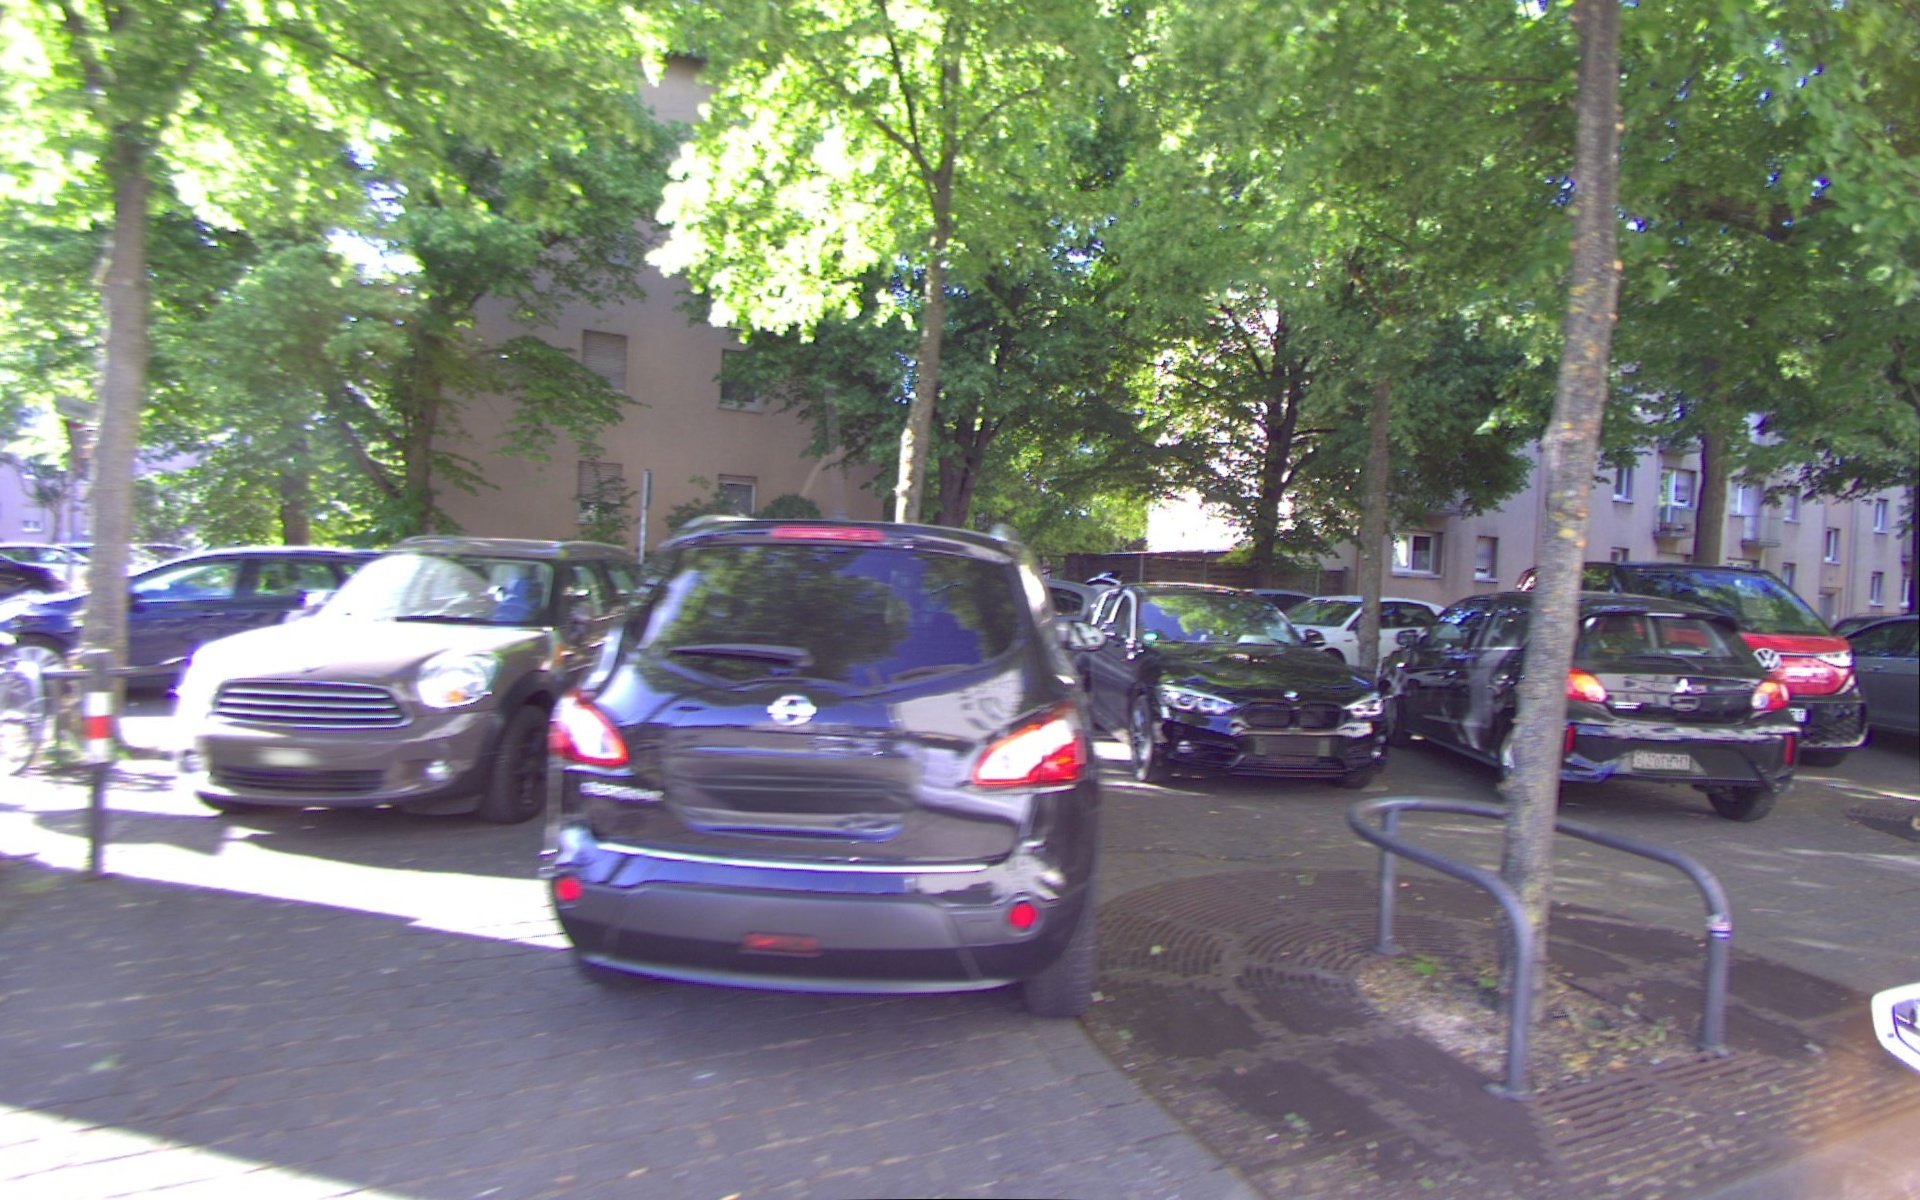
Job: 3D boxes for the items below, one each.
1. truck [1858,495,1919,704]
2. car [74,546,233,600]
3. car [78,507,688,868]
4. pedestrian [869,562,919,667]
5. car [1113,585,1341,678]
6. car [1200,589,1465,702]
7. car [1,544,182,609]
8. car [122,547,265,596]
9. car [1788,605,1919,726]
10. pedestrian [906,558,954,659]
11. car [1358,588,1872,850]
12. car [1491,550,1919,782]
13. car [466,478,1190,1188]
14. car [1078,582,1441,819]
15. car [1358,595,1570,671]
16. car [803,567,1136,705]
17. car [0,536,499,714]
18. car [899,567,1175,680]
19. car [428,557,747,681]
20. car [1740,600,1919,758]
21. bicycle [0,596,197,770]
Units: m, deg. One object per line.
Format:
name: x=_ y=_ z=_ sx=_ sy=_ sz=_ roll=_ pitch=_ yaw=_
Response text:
truck: x=16.266 y=0.042 z=13.430 sx=2.495 sy=3.338 sz=7.329 roll=2 pitch=0 yaw=7
car: x=-24.665 y=-0.815 z=30.794 sx=1.597 sy=1.501 sz=3.575 roll=3 pitch=1 yaw=41
car: x=-3.223 y=0.404 z=6.694 sx=1.885 sy=1.632 sz=3.998 roll=2 pitch=0 yaw=-3
pedestrian: x=-1.138 y=0.237 z=17.218 sx=0.533 sy=1.759 sz=0.737 roll=1 pitch=1 yaw=-28
car: x=5.042 y=0.591 z=18.976 sx=3.895 sy=1.591 sz=1.749 roll=2 pitch=1 yaw=-24
car: x=5.754 y=0.661 z=15.415 sx=3.905 sy=1.506 sz=1.744 roll=2 pitch=1 yaw=-32
car: x=-21.717 y=-0.561 z=25.202 sx=1.597 sy=1.501 sz=3.241 roll=3 pitch=1 yaw=41
car: x=-25.628 y=-0.925 z=33.658 sx=1.597 sy=1.501 sz=3.575 roll=3 pitch=1 yaw=41
car: x=13.410 y=0.900 z=13.297 sx=1.777 sy=1.527 sz=4.346 roll=2 pitch=1 yaw=9
pedestrian: x=-0.533 y=0.142 z=17.960 sx=0.727 sy=1.759 sz=0.540 roll=2 pitch=1 yaw=9
car: x=4.683 y=0.688 z=7.962 sx=1.726 sy=1.501 sz=3.825 roll=2 pitch=1 yaw=4
car: x=7.600 y=0.530 z=10.825 sx=1.896 sy=1.898 sz=4.505 roll=2 pitch=1 yaw=9
car: x=-0.170 y=0.476 z=4.677 sx=1.800 sy=1.694 sz=4.338 roll=2 pitch=3 yaw=5
car: x=2.133 y=0.612 z=8.364 sx=1.786 sy=1.441 sz=3.948 roll=2 pitch=1 yaw=0
car: x=10.854 y=0.718 z=21.609 sx=4.284 sy=1.454 sz=1.759 roll=2 pitch=1 yaw=-25
car: x=0.163 y=0.427 z=12.811 sx=3.905 sy=1.506 sz=1.744 roll=2 pitch=1 yaw=-32
car: x=-7.095 y=0.246 z=10.289 sx=4.241 sy=1.539 sz=1.897 roll=2 pitch=1 yaw=-25
car: x=1.287 y=0.383 z=16.505 sx=4.191 sy=1.662 sz=1.747 roll=2 pitch=1 yaw=-27
car: x=-5.102 y=0.267 z=13.948 sx=3.895 sy=1.531 sz=1.748 roll=2 pitch=1 yaw=-25
car: x=10.441 y=0.816 z=10.433 sx=1.777 sy=1.527 sz=4.346 roll=2 pitch=1 yaw=9
bicycle: x=-6.005 y=0.529 z=6.572 sx=1.577 sy=1.086 sz=0.350 roll=2 pitch=1 yaw=-36
